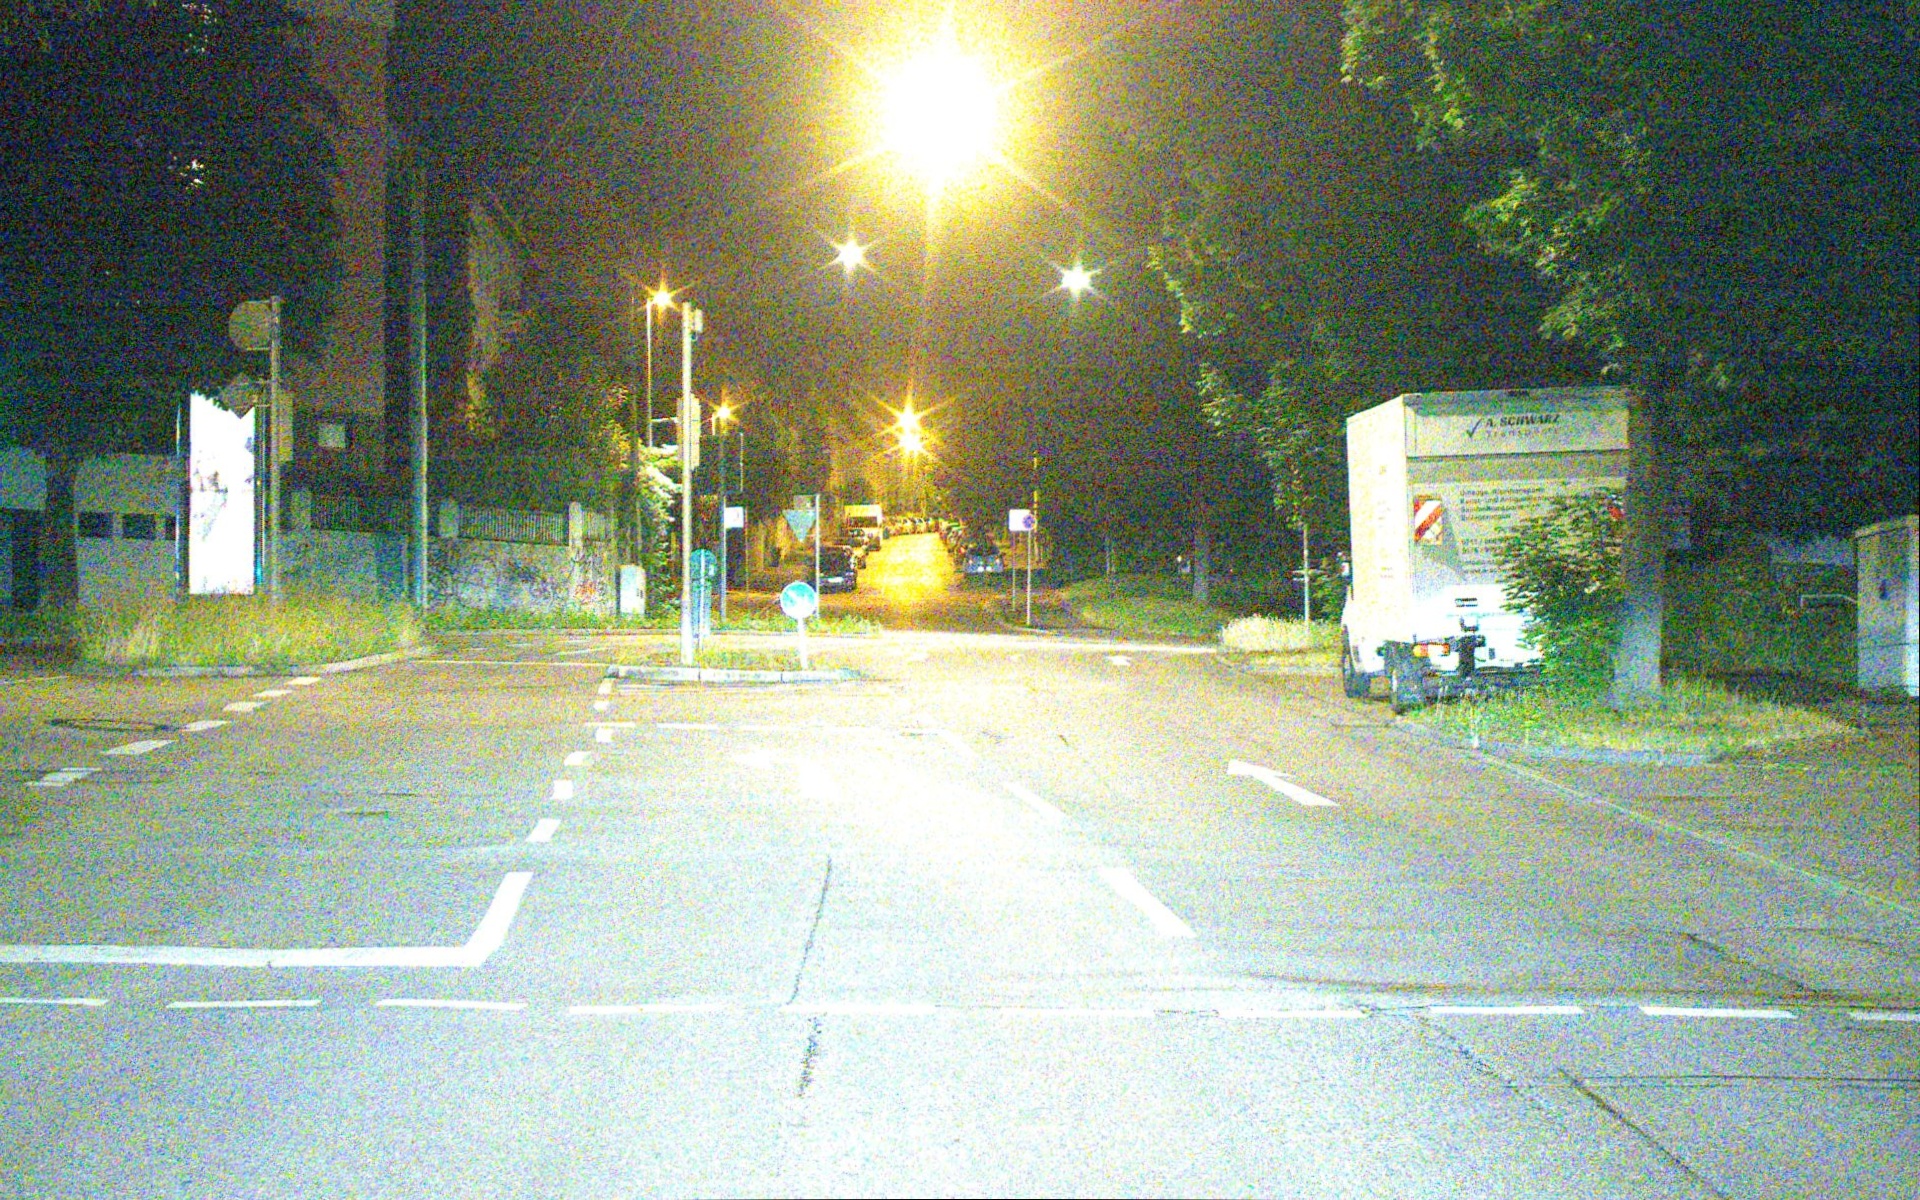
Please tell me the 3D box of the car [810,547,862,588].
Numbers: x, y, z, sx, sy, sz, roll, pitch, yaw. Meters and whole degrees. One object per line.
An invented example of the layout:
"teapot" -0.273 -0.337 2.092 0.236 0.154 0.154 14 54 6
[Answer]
"car" -4.843 -1.285 134.420 1.908 1.552 3.904 1 1 -1

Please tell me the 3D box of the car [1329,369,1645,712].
"car" 5.123 -0.577 34.304 2.297 3.082 5.840 -1 1 1
